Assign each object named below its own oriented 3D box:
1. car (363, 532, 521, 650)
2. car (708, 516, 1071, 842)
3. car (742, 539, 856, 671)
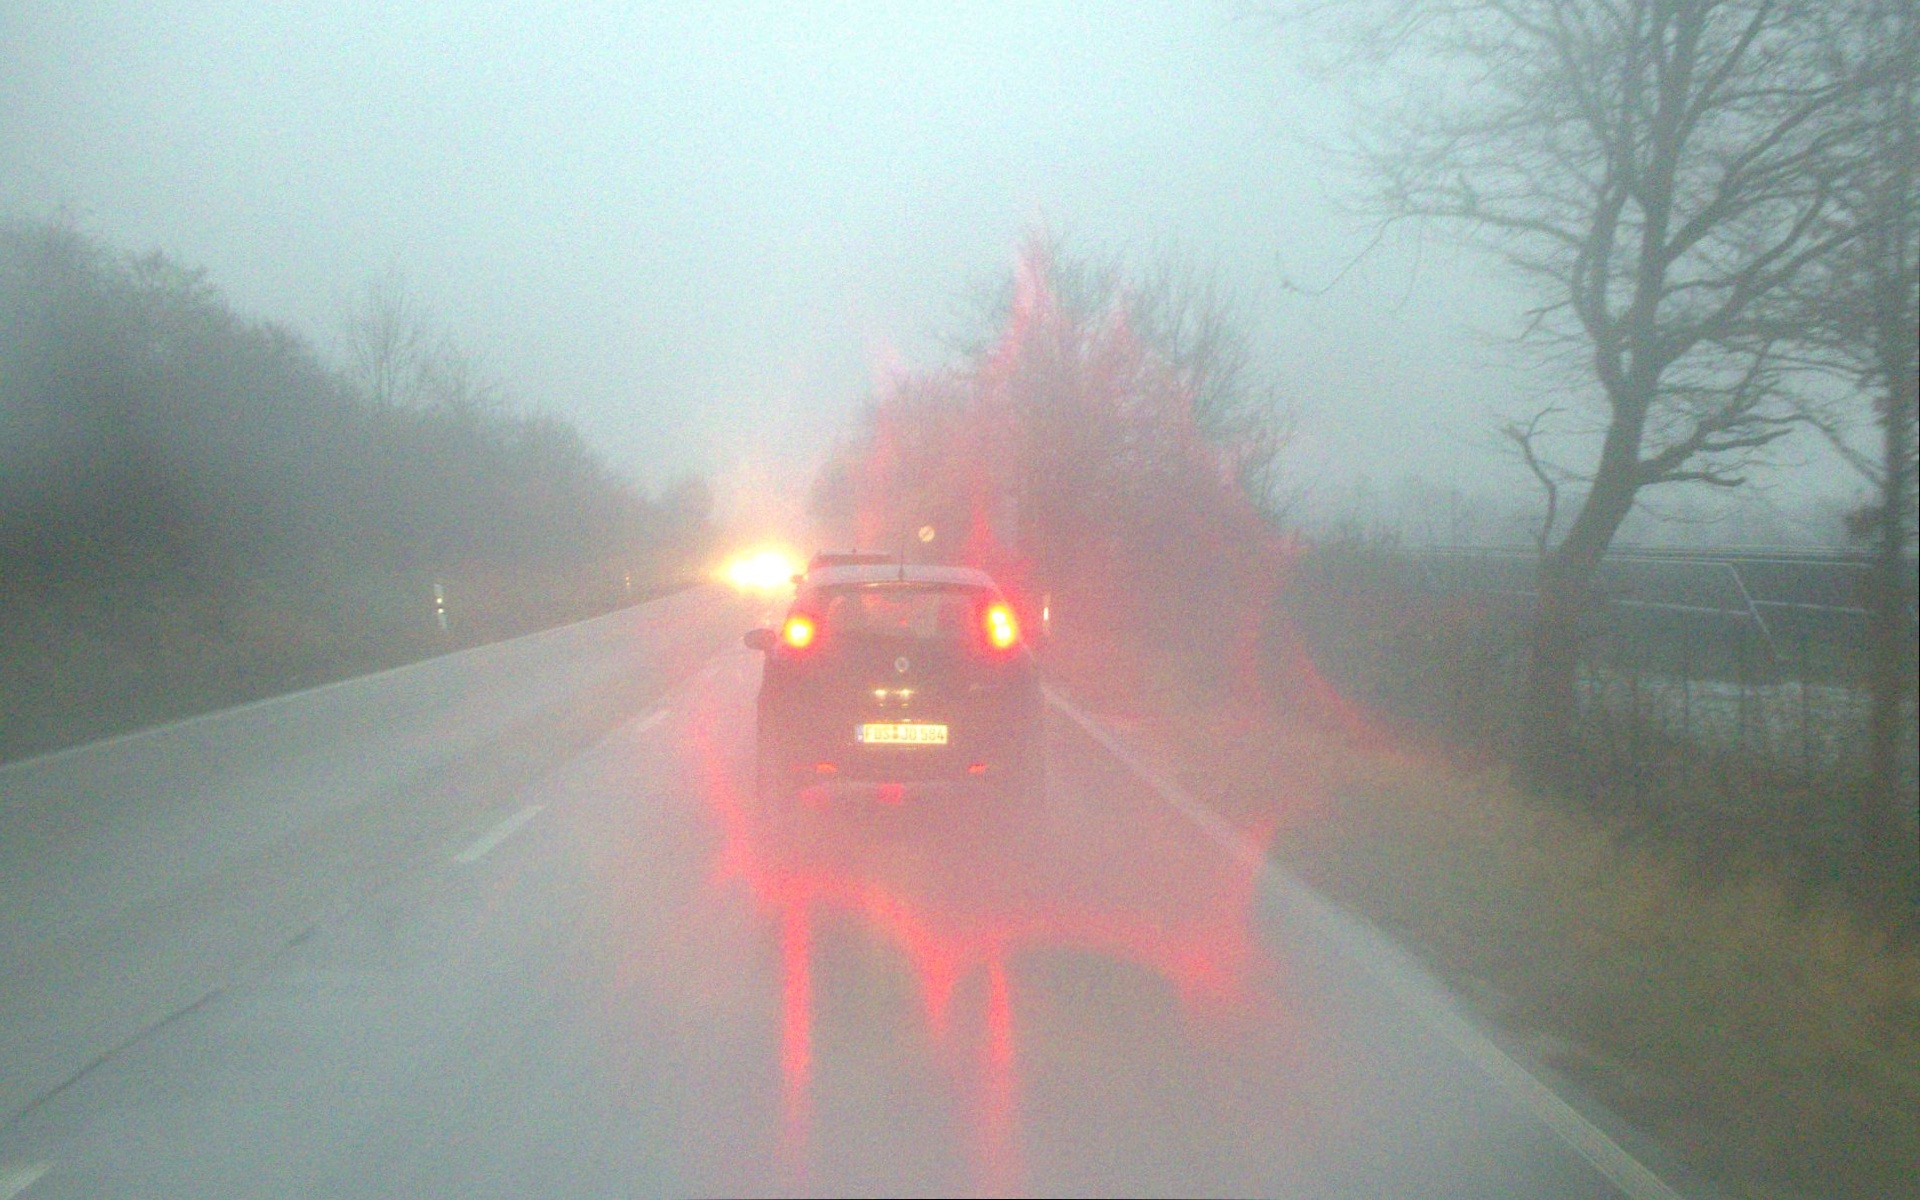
[{"bbox_3d":[-8.256,-0.161,55.145,1.993,1.778,4.000,1,0,-1],"label":"car"},{"bbox_3d":[-0.443,0.422,21.180,1.993,1.778,4.000,1,0,-1],"label":"car"},{"bbox_3d":[-2.371,0.053,51.302,1.574,1.868,3.709,1,0,-1],"label":"car"}]
